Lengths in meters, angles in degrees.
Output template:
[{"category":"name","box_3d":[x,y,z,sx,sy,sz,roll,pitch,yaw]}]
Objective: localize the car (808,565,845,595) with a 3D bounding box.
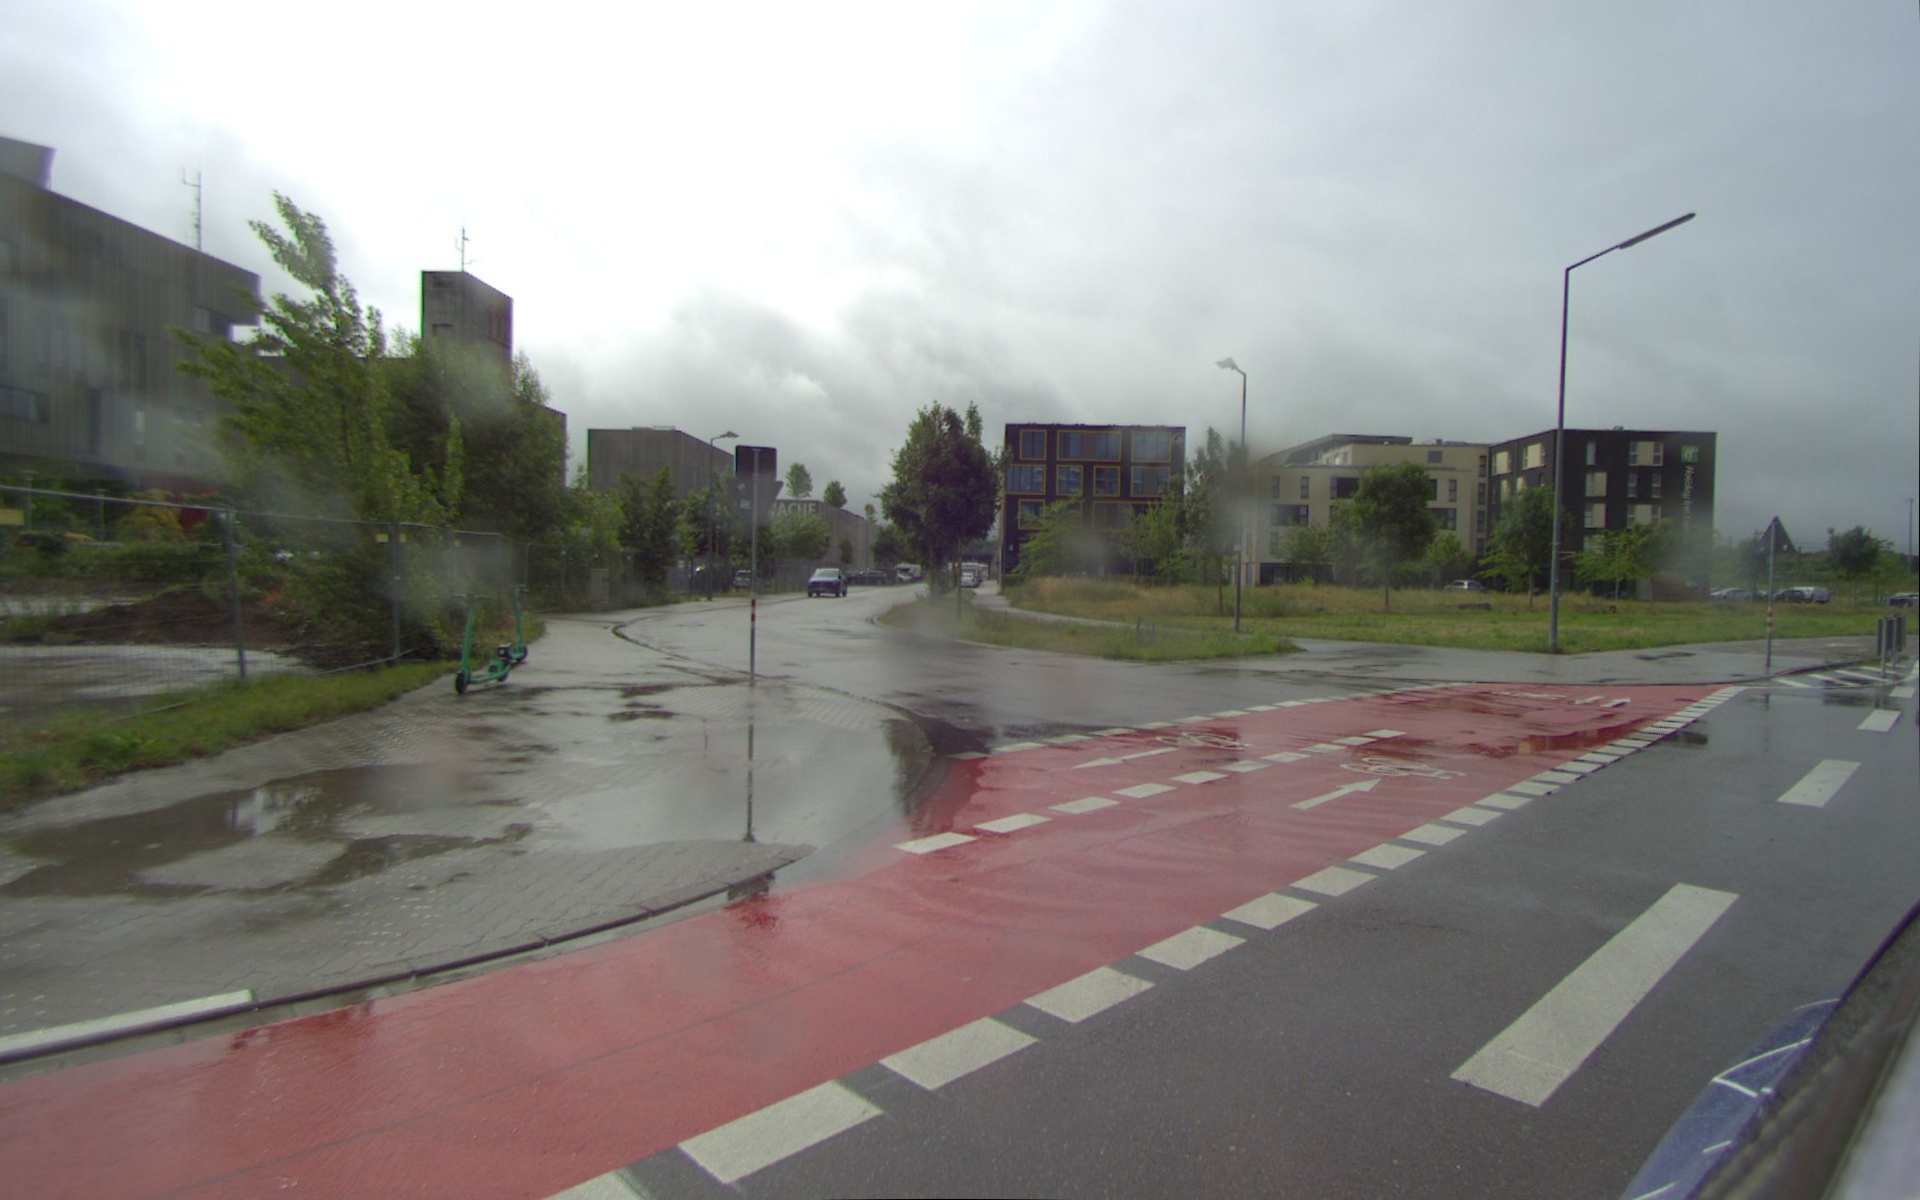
[{"category":"car","box_3d":[-7.684,-1.166,58.357,1.570,1.631,3.599,1,1,1]}]

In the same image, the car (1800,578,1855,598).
[{"category":"car","box_3d":[93.122,-1.256,108.680,3.930,2.039,1.997,1,1,6]}]

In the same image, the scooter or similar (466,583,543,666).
[{"category":"scooter or similar","box_3d":[-6.794,0.341,15.156,0.731,1.164,1.197,1,2,-8]}]

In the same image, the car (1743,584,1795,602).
[{"category":"car","box_3d":[80.275,-0.714,100.499,3.595,1.682,1.644,1,1,13]}]

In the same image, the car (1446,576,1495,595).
[{"category":"car","box_3d":[43.844,-1.244,86.875,3.591,1.602,1.652,1,1,-17]}]

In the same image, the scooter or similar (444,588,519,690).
[{"category":"scooter or similar","box_3d":[-5.857,0.450,12.446,0.473,1.164,1.197,1,2,-7]}]

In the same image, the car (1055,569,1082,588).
[{"category":"car","box_3d":[9.505,-1.861,89.020,1.615,1.602,3.673,1,1,-6]}]

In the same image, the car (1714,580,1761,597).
[{"category":"car","box_3d":[82.538,-1.229,107.437,3.590,1.631,1.596,1,1,10]}]
